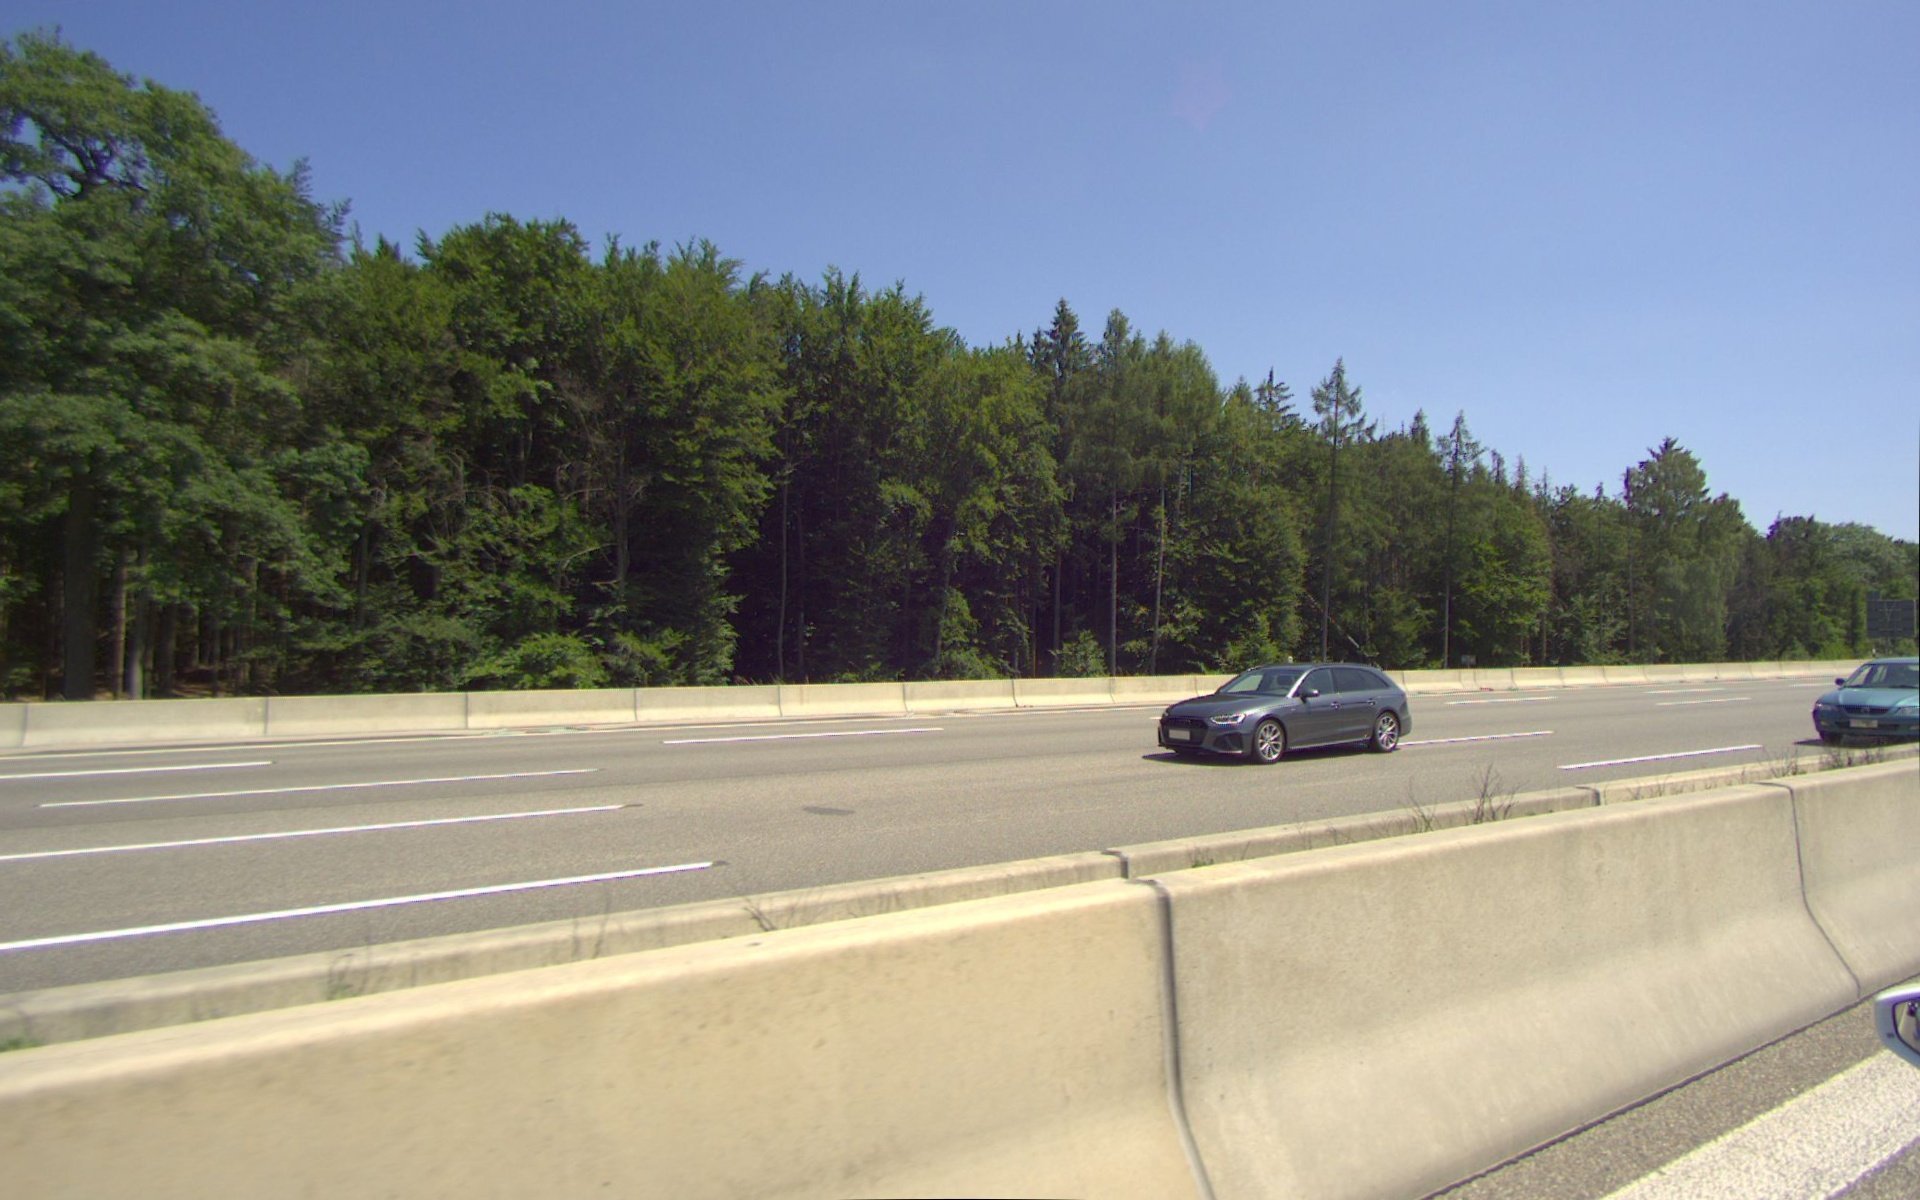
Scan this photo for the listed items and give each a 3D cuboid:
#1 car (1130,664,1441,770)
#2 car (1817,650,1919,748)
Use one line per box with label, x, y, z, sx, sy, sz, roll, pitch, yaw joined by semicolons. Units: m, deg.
car;5.240;1.742;15.971;4.986;1.367;1.913;1;-2;-30
car;16.916;1.647;17.488;4.300;1.532;1.709;1;-3;-30
